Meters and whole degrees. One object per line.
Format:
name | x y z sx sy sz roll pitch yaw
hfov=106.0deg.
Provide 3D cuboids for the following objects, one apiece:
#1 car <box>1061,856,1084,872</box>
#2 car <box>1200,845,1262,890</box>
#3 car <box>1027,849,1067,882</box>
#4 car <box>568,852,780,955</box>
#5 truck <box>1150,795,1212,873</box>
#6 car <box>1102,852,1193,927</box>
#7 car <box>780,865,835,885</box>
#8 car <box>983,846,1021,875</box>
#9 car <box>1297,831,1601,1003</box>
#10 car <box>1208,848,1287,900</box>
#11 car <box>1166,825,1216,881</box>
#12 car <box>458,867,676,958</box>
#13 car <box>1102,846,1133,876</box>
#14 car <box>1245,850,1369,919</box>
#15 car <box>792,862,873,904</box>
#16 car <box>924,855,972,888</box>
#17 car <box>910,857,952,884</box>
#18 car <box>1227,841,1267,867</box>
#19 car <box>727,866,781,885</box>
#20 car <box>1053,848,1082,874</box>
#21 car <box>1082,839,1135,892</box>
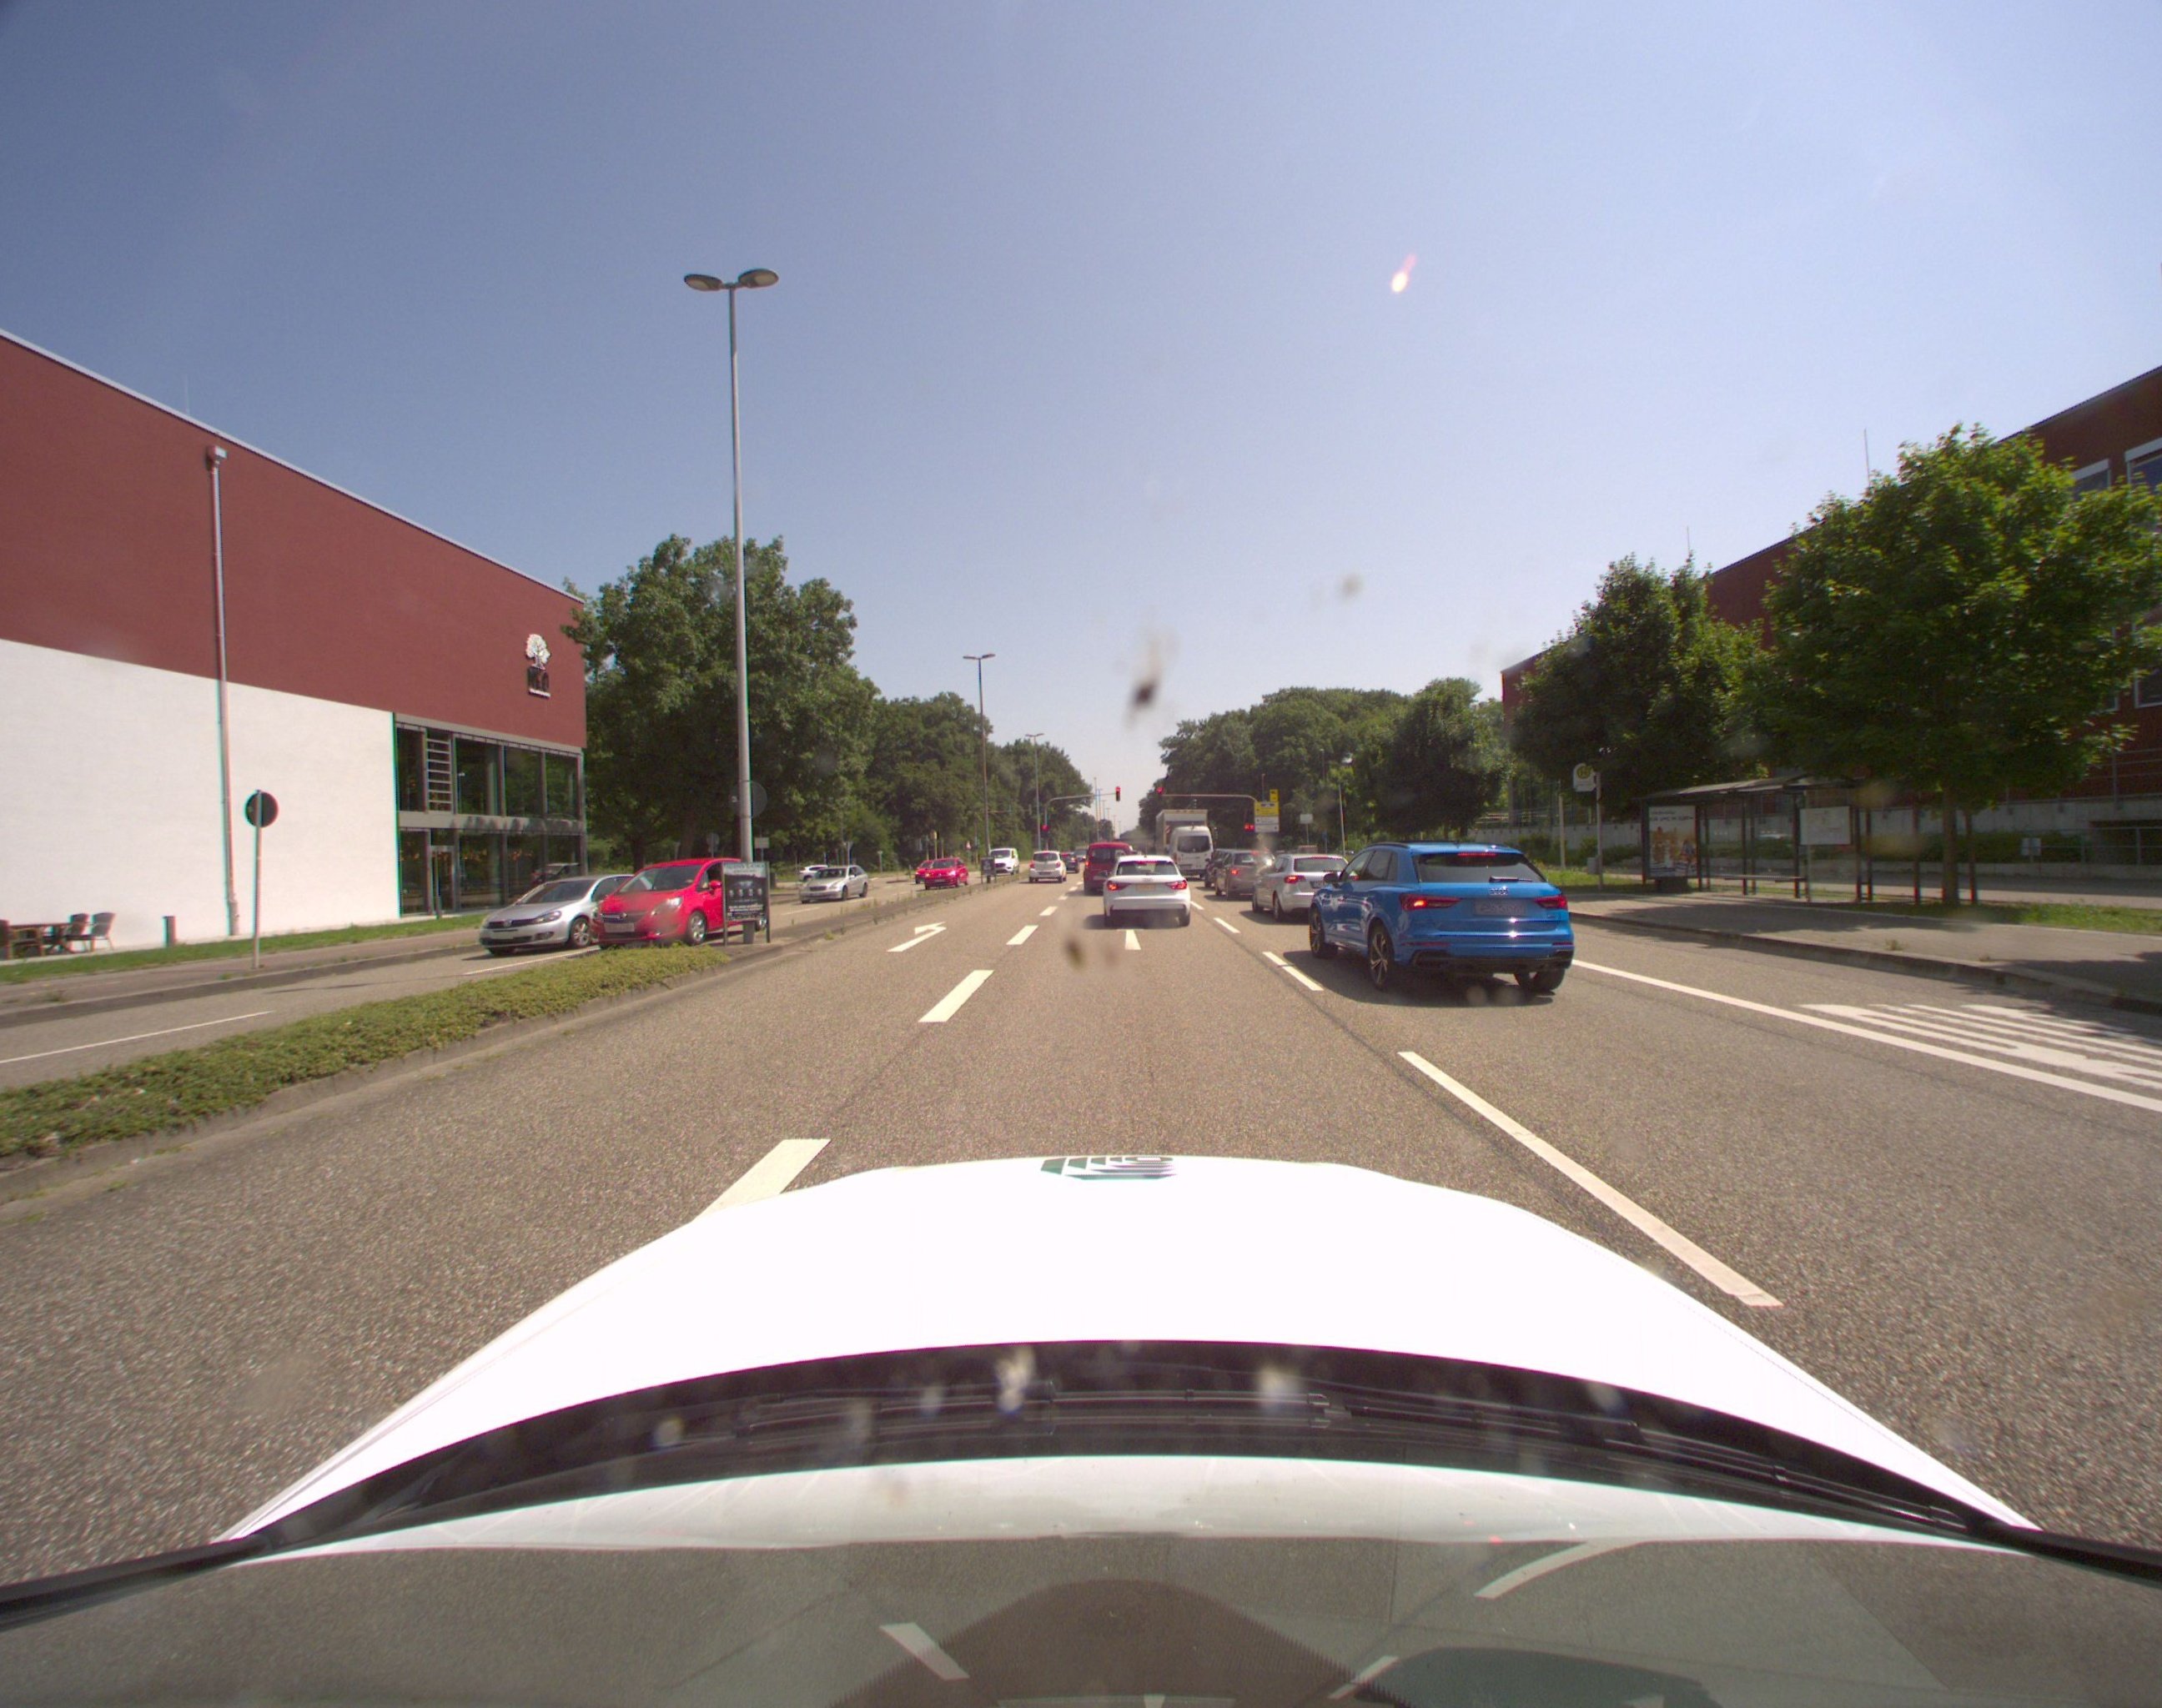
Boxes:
car | -1.014 1.167 95.415 1.874 1.689 3.984 -2 0 -12
car | 5.720 0.492 31.423 1.705 1.593 4.093 -1 0 1
car | -1.628 0.535 40.199 1.705 1.492 4.093 -1 0 1
car | -7.554 0.829 15.646 1.742 1.569 4.156 -4 0 2
truck | 6.254 -1.178 52.696 3.076 4.433 11.589 -1 0 3
car | 1.317 0.673 17.591 1.705 1.386 4.093 -1 0 1
car | -24.325 1.859 72.535 4.364 1.681 1.807 0 -1 -6
car | -5.777 0.441 60.048 1.986 1.945 4.910 -4 0 2
car | 4.070 0.587 9.926 1.830 1.596 4.402 -1 0 2
car | 5.151 0.572 25.612 1.705 1.478 4.093 2 0 1
car | 5.512 -0.053 41.492 2.023 2.644 4.848 -1 0 2
car | -10.531 1.117 17.123 1.742 1.451 4.136 -4 0 2
car | 2.077 0.388 47.569 1.705 1.631 4.093 -1 0 1
car | 4.877 0.589 18.136 1.705 1.362 4.093 0 0 1
car | -10.115 1.138 33.449 1.771 1.404 4.361 -5 0 1
car | -6.485 0.828 39.997 1.575 1.441 3.610 -4 0 1
car | -9.572 1.033 52.265 1.699 1.452 3.894 -5 0 3
car | 10.435 -0.019 51.421 1.705 1.546 4.093 -1 0 1
car | -30.524 2.021 76.167 4.369 1.681 1.805 0 -1 -9
car | -0.880 0.457 56.173 1.768 1.641 4.038 -1 0 1
car | 0.968 0.374 29.016 1.705 1.748 4.093 -1 0 1
